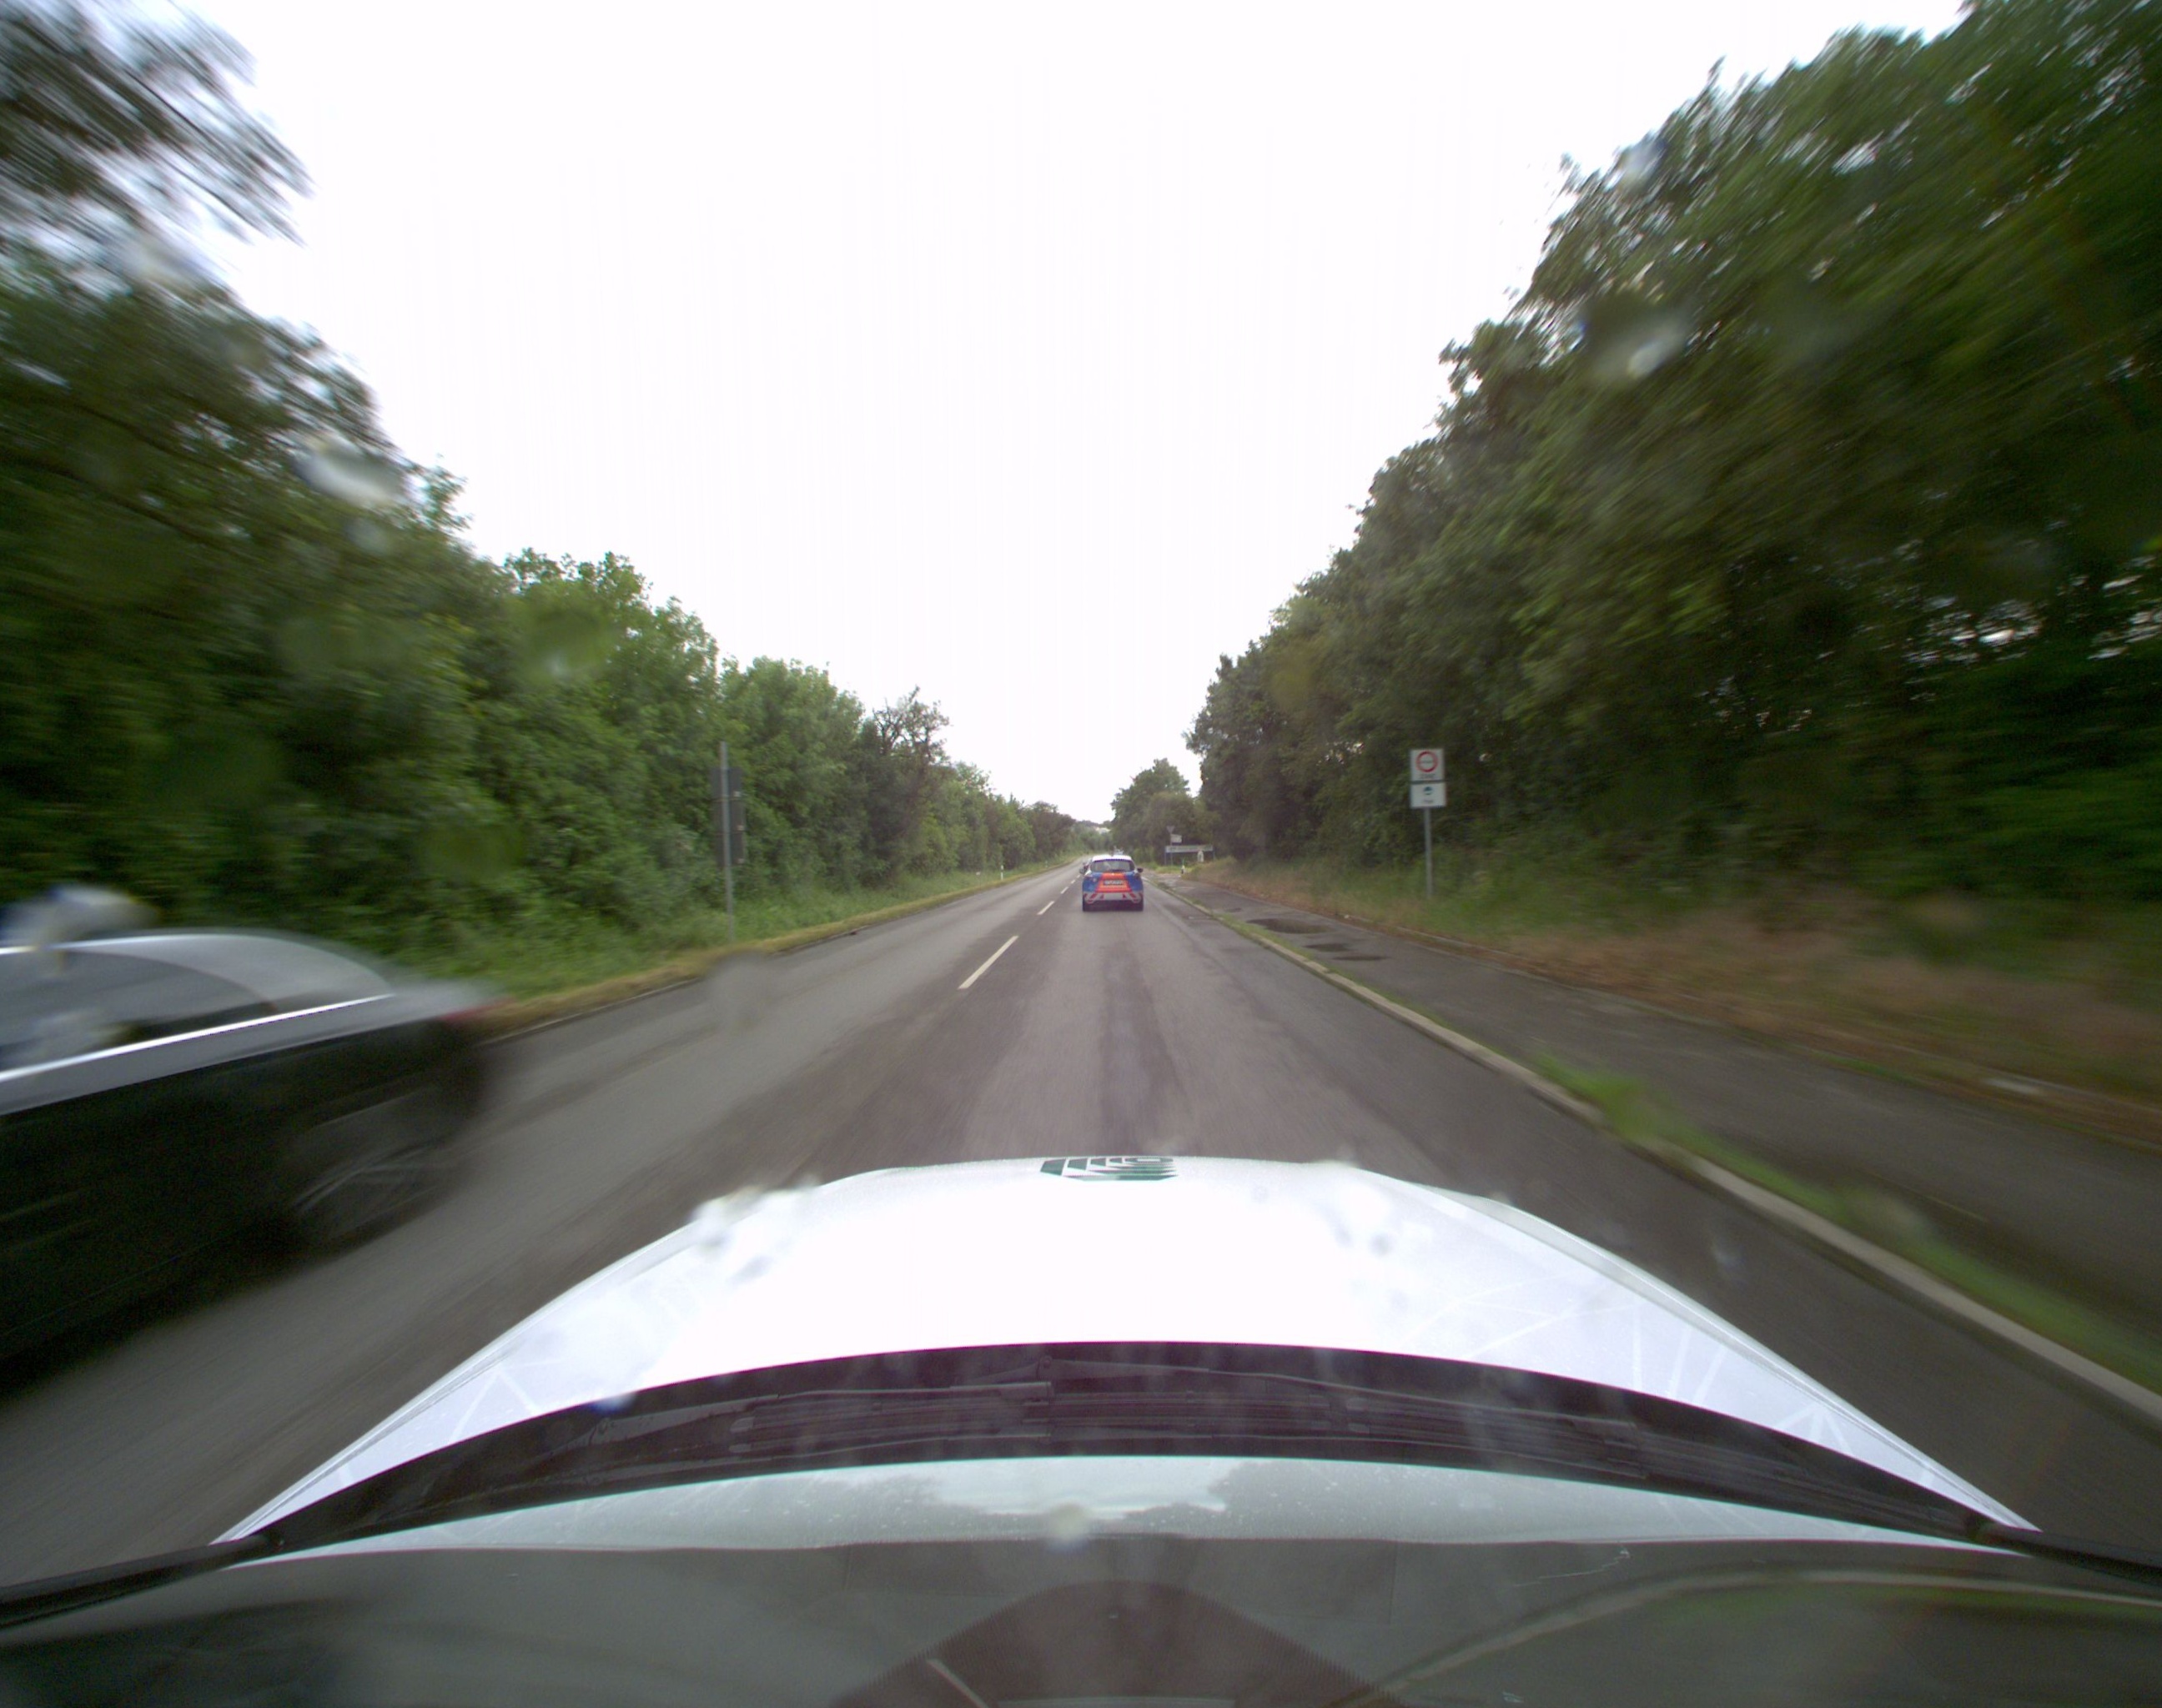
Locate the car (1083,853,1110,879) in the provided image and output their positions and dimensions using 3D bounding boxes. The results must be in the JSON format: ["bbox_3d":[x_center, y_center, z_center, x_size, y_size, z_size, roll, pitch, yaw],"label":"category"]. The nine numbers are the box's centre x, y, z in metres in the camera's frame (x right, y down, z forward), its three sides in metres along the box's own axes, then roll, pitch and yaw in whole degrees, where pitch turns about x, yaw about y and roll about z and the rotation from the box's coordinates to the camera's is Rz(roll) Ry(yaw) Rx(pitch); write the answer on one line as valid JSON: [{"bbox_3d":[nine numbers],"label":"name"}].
[{"bbox_3d":[0.964,0.749,51.806,1.688,1.595,3.855,0,0,0],"label":"car"}]

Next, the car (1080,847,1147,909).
[{"bbox_3d":[0.923,0.649,23.956,1.799,1.668,3.856,0,0,1],"label":"car"}]

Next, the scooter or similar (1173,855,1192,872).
[{"bbox_3d":[7.238,0.678,57.863,1.310,1.206,0.376,-3,-1,42],"label":"scooter or similar"}]

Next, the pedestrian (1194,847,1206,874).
[{"bbox_3d":[8.018,0.409,54.786,0.658,1.778,0.760,-3,-1,1],"label":"pedestrian"}]

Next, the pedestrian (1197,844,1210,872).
[{"bbox_3d":[8.389,0.274,55.612,0.690,1.827,0.801,-3,-1,1],"label":"pedestrian"}]

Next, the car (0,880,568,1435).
[{"bbox_3d":[-3.998,0.956,2.421,1.864,1.489,4.575,-5,0,1],"label":"car"}]
